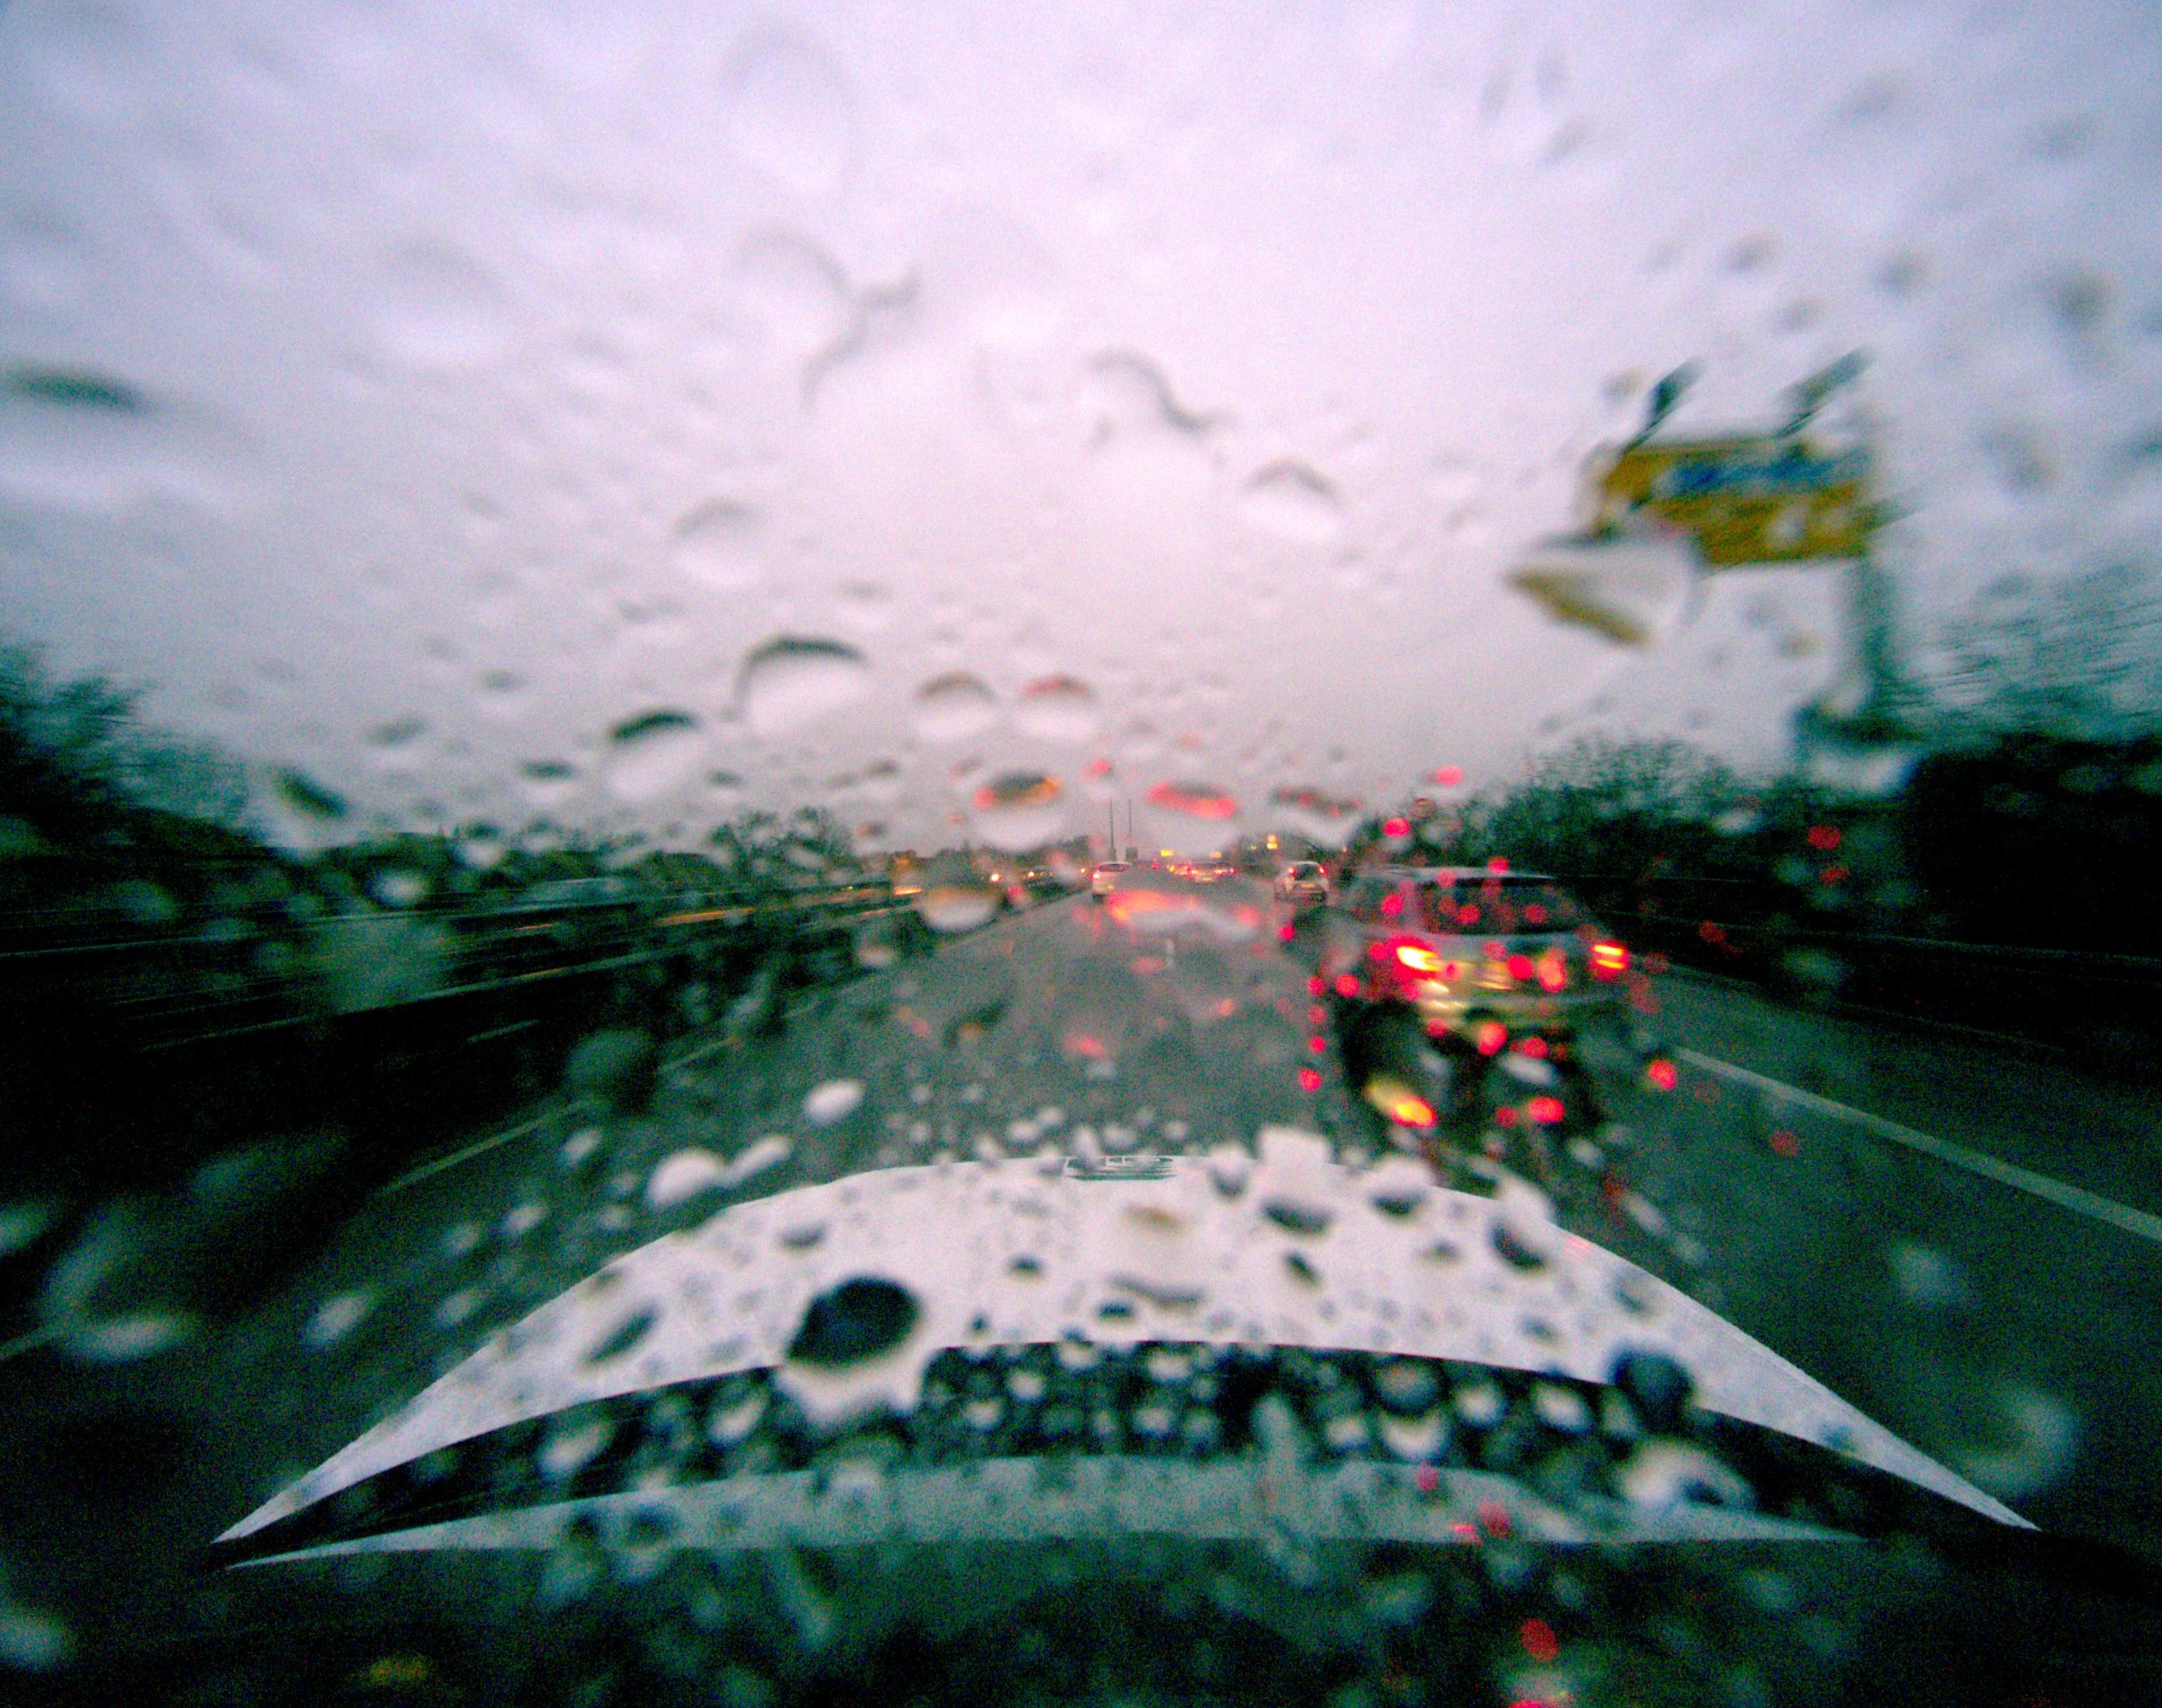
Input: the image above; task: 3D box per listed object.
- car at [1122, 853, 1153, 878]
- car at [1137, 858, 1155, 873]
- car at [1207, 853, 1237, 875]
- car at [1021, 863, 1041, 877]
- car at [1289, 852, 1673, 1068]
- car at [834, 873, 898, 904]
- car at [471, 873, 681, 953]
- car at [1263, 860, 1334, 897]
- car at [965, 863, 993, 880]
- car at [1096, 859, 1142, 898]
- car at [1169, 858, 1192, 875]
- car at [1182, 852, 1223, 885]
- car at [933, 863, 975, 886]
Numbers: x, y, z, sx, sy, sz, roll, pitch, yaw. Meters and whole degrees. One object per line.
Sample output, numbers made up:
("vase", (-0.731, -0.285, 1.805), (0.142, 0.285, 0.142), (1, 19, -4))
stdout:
("car", (3.854, 0.770, 54.880), (1.984, 1.601, 4.314), (0, 0, 5))
("car", (7.050, 1.239, 89.001), (1.783, 1.545, 4.001), (-1, 0, 1))
("car", (10.586, 0.742, 61.415), (1.782, 1.545, 4.003), (-2, 0, 3))
("car", (-5.914, 1.882, 97.188), (1.886, 1.465, 4.004), (-2, -1, 4))
("car", (3.356, 0.789, 7.879), (1.984, 1.500, 4.144), (-2, -1, 6))
("car", (-11.448, 1.816, 43.728), (1.886, 1.465, 4.465), (-2, -1, 4))
("car", (-11.861, 1.311, 19.633), (1.778, 1.564, 4.856), (-1, 0, 3))
("car", (8.514, 0.926, 32.227), (1.984, 1.346, 4.005), (-1, 0, 5))
("car", (-9.794, 1.648, 78.427), (1.886, 1.465, 4.004), (-2, -1, 4))
("car", (1.481, 0.933, 32.306), (1.717, 1.440, 4.227), (0, -1, 2))
("car", (9.500, 1.153, 78.220), (1.783, 1.545, 4.001), (-1, 0, 1))
("car", (6.772, 0.810, 45.898), (1.889, 1.767, 4.312), (-1, 0, 3))
("car", (-9.008, 1.454, 58.110), (1.886, 1.465, 4.835), (-2, -1, 4))
